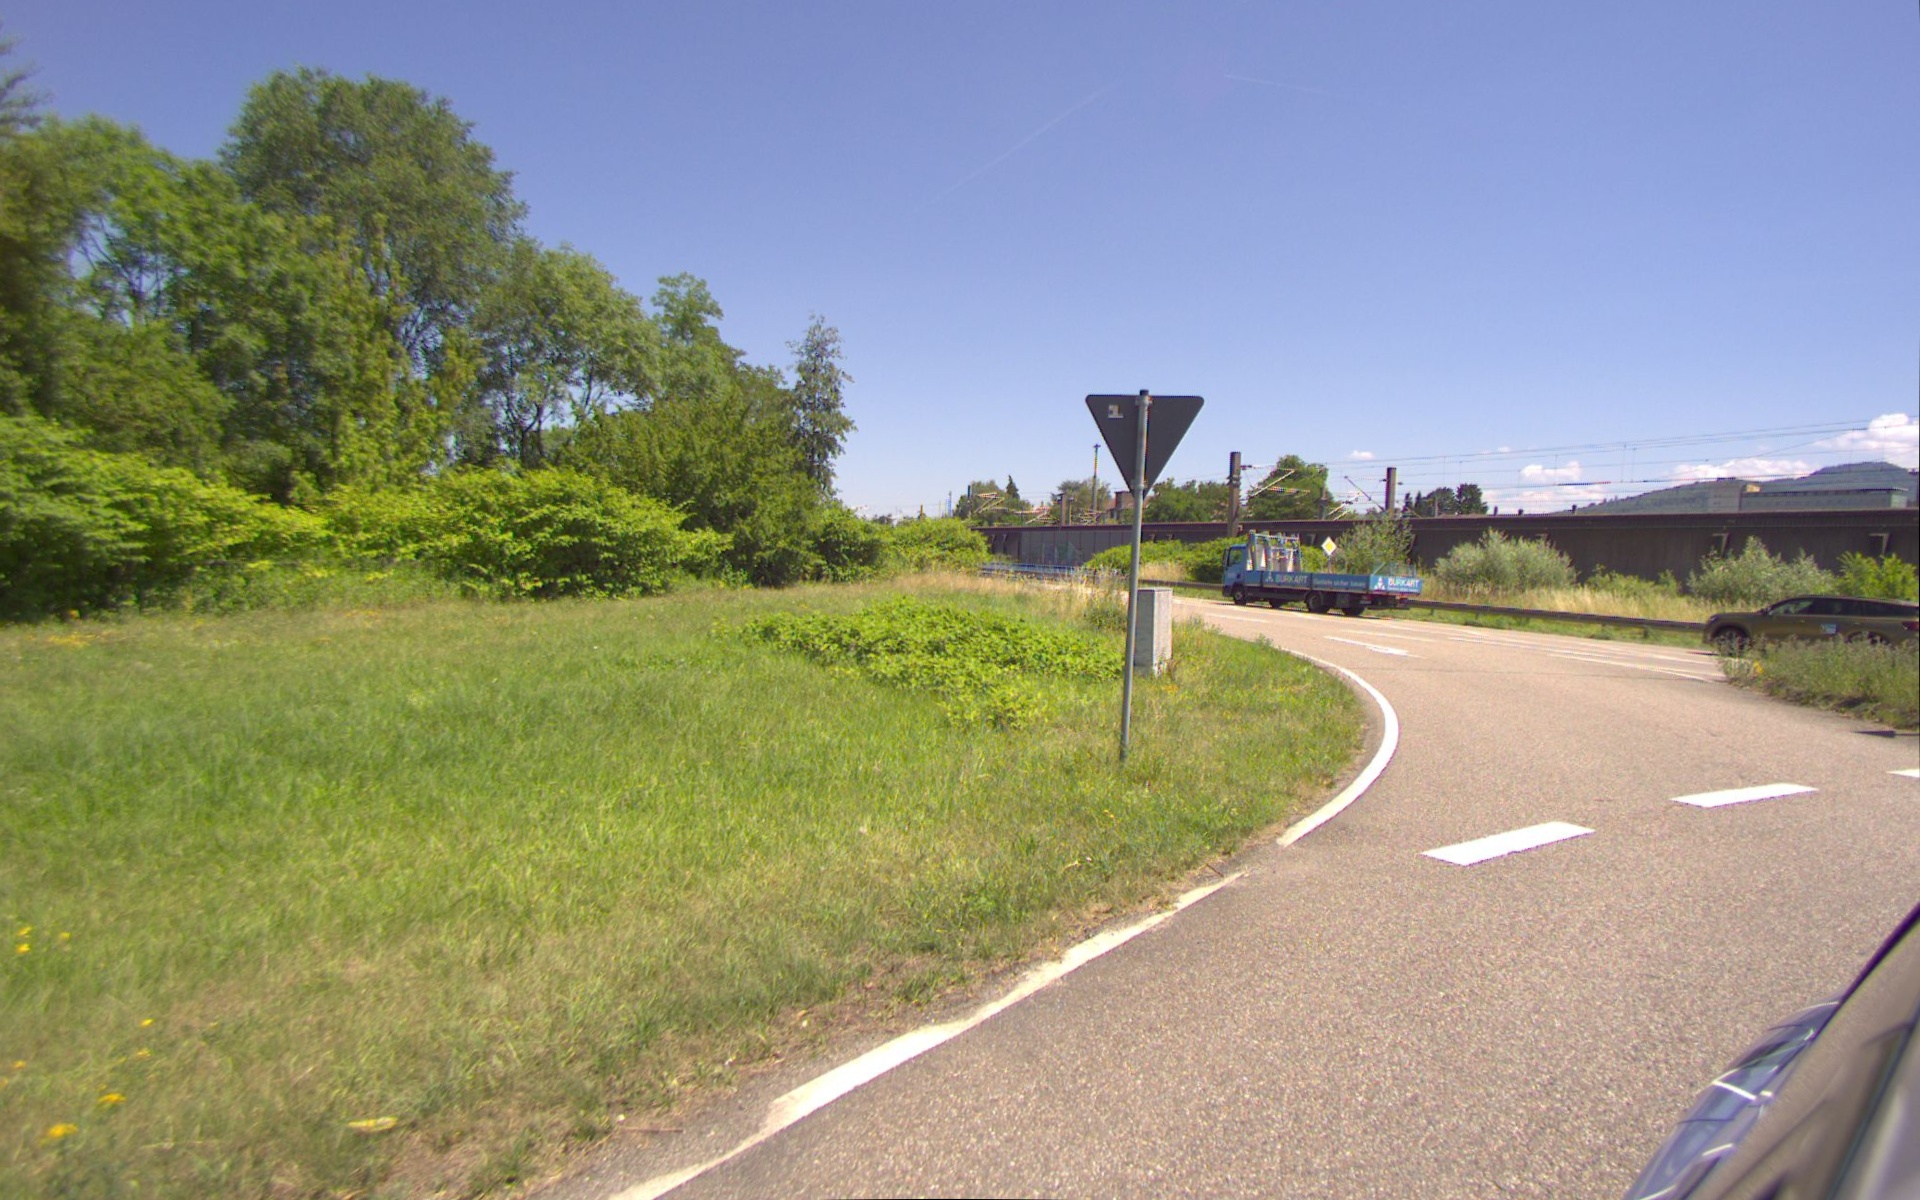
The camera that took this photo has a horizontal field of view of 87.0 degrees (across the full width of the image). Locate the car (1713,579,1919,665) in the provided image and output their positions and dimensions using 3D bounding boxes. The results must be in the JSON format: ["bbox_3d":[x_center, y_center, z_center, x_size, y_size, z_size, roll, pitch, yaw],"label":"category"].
[{"bbox_3d":[20.626,0.487,23.581,1.670,1.646,4.635,3,3,-24],"label":"car"}]

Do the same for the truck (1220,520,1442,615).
[{"bbox_3d":[14.128,-1.401,39.568,2.861,3.188,8.648,3,3,-22],"label":"truck"}]
